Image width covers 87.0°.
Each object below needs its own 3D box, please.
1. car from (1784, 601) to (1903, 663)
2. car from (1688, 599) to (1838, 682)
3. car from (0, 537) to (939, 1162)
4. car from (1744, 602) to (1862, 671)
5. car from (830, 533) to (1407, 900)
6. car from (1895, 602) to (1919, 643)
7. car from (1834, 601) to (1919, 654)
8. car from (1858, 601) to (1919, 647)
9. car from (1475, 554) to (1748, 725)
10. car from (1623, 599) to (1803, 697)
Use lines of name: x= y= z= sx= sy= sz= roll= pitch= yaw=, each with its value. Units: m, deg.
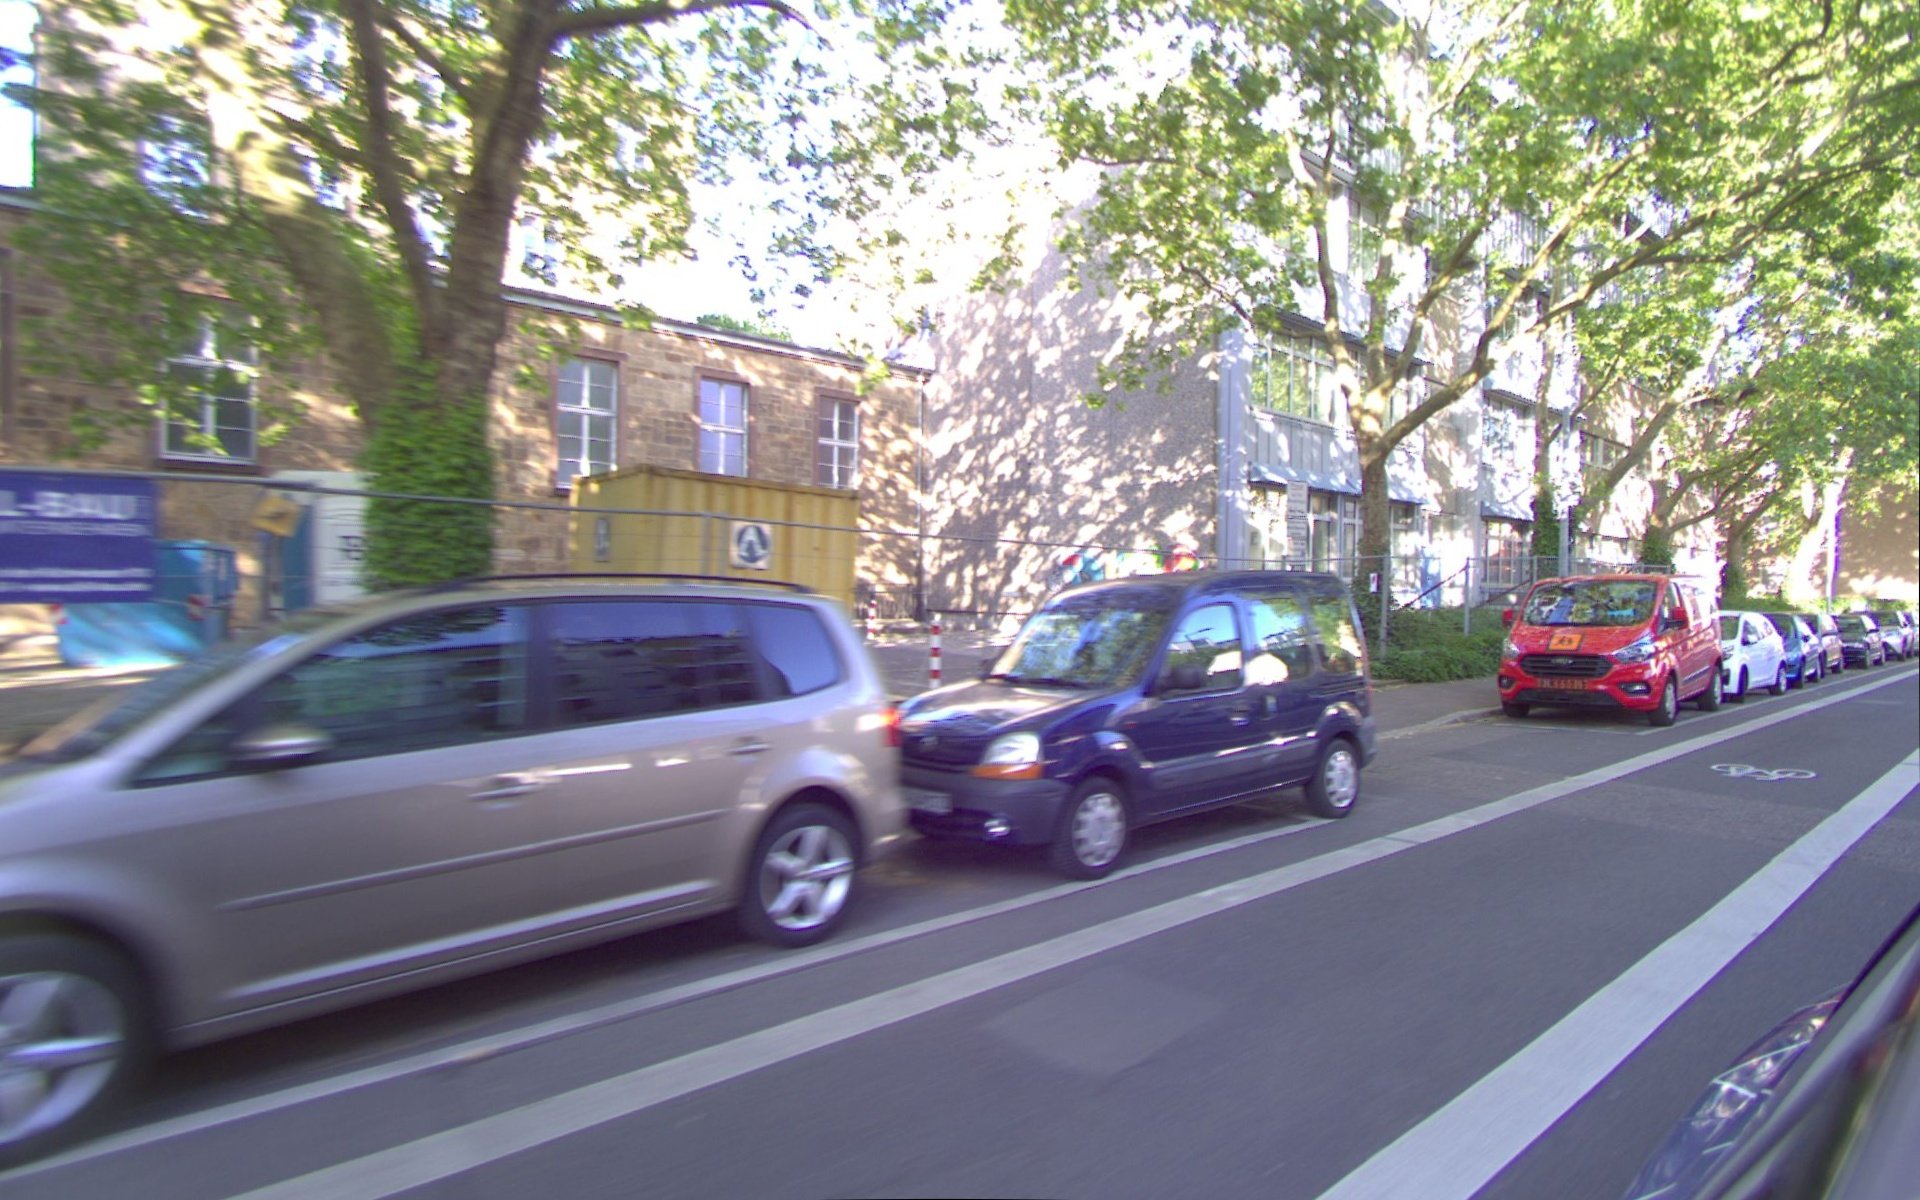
car: x=23.841 y=0.818 z=27.252 sx=4.519 sy=1.542 sz=1.857 roll=0 pitch=-1 yaw=-42
car: x=16.496 y=0.792 z=20.727 sx=3.863 sy=1.530 sz=1.856 roll=1 pitch=-2 yaw=-44
car: x=-2.228 y=0.672 z=4.148 sx=4.257 sy=1.648 sz=1.694 roll=0 pitch=-1 yaw=-43
car: x=19.750 y=0.824 z=23.685 sx=3.432 sy=1.494 sz=1.615 roll=0 pitch=-2 yaw=-42
car: x=1.279 y=0.593 z=7.032 sx=4.056 sy=1.836 sz=1.696 roll=0 pitch=-1 yaw=-40
car: x=36.585 y=0.825 z=38.046 sx=4.888 sy=1.455 sz=1.856 roll=0 pitch=0 yaw=-44
car: x=28.492 y=0.795 z=31.165 sx=4.223 sy=1.542 sz=1.857 roll=0 pitch=-1 yaw=-42
car: x=31.989 y=0.767 z=34.276 sx=4.523 sy=1.455 sz=1.858 roll=0 pitch=0 yaw=-42
car: x=9.444 y=0.482 z=14.479 sx=5.084 sy=2.019 sz=2.080 roll=0 pitch=-1 yaw=-43
car: x=13.040 y=0.762 z=17.462 sx=3.692 sy=1.504 sz=1.641 roll=0 pitch=-1 yaw=-39
